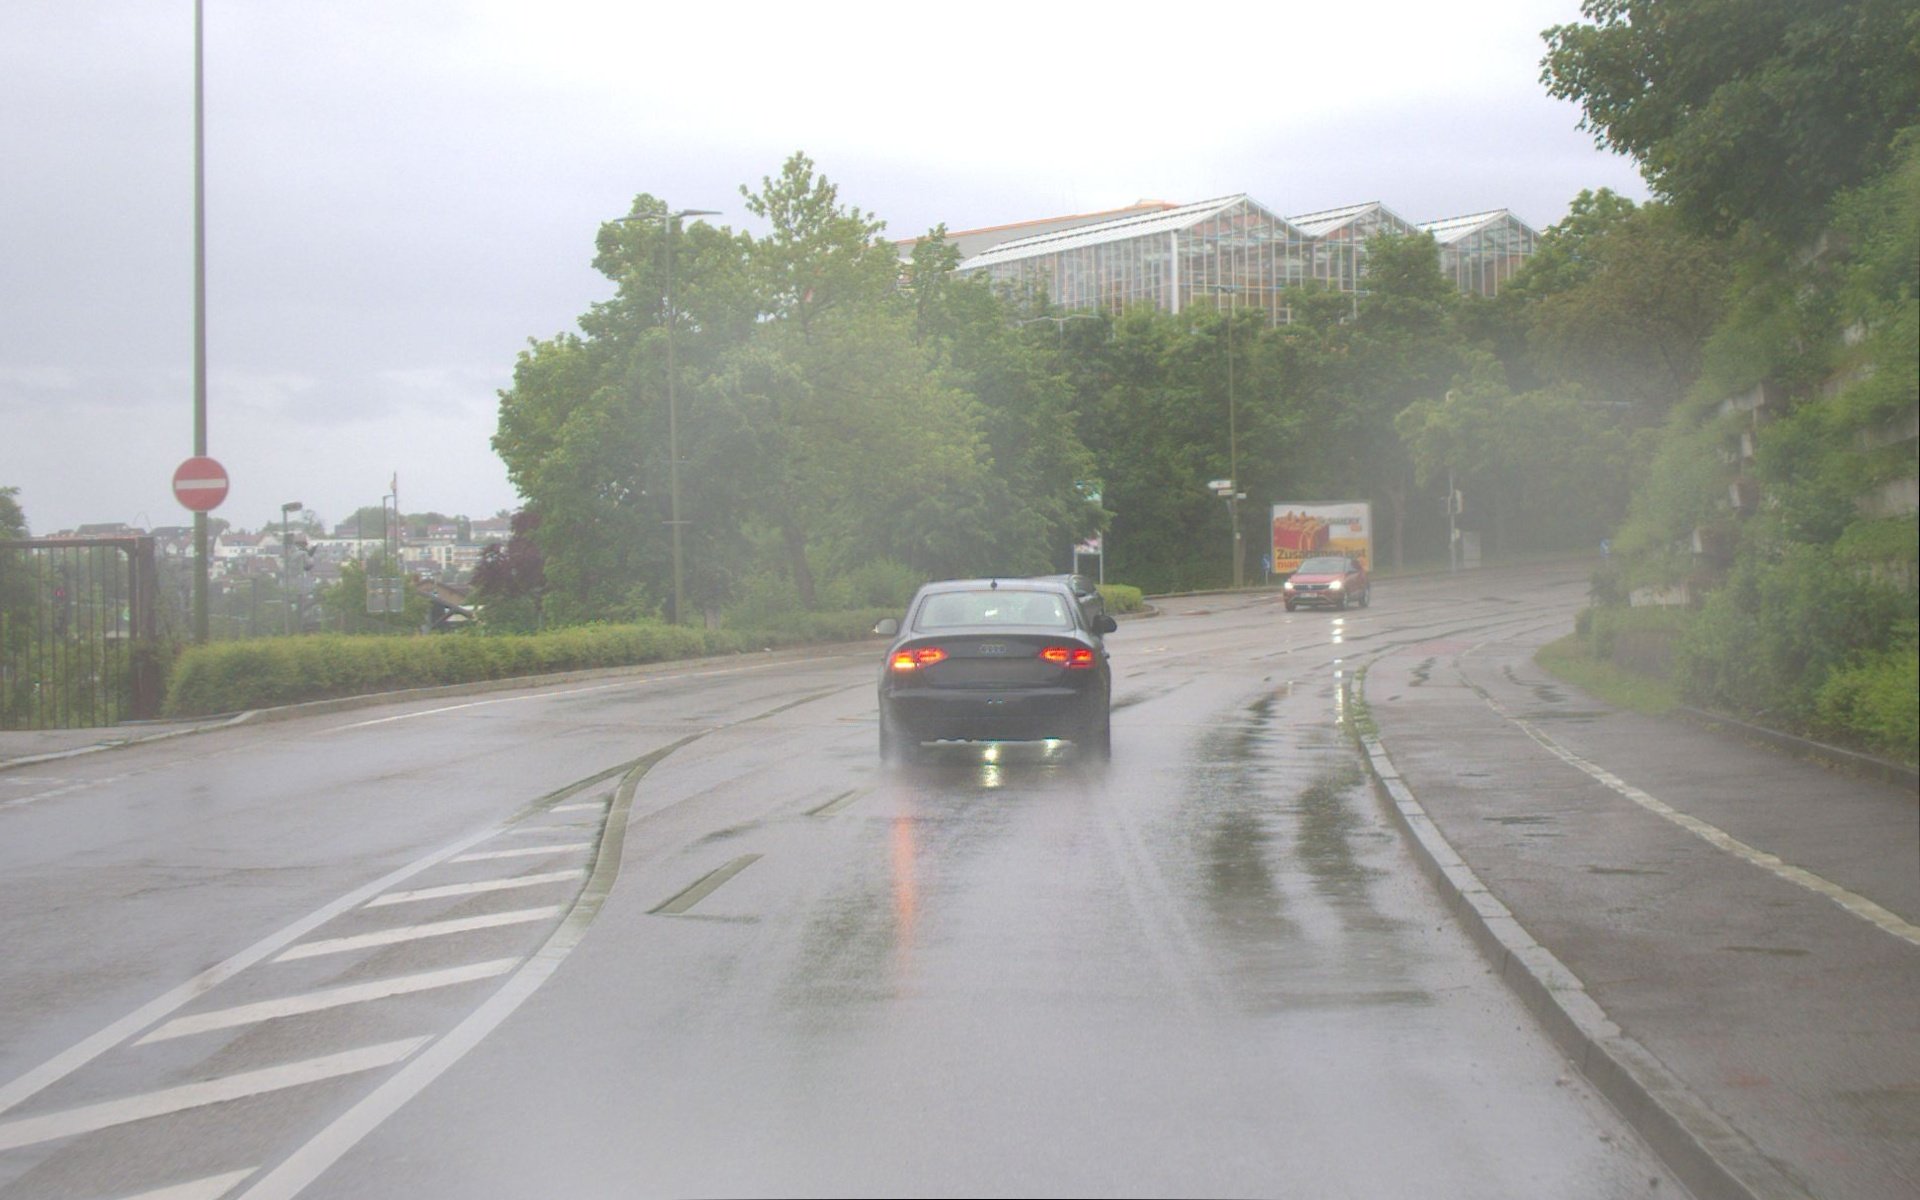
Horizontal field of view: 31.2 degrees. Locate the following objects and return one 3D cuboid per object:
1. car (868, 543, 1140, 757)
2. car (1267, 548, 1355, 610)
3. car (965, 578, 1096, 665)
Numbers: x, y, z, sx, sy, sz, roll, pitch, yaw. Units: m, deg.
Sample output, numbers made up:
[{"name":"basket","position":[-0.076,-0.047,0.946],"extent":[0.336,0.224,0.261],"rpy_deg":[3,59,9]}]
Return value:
[{"name":"car","position":[0.427,0.328,27.231],"extent":[1.893,1.487,4.207],"rpy_deg":[1,1,4]},{"name":"car","position":[10.311,-0.635,100.811],"extent":[1.995,1.735,3.998],"rpy_deg":[0,1,14]},{"name":"car","position":[1.539,0.440,73.043],"extent":[1.995,1.735,3.998],"rpy_deg":[0,1,13]}]
